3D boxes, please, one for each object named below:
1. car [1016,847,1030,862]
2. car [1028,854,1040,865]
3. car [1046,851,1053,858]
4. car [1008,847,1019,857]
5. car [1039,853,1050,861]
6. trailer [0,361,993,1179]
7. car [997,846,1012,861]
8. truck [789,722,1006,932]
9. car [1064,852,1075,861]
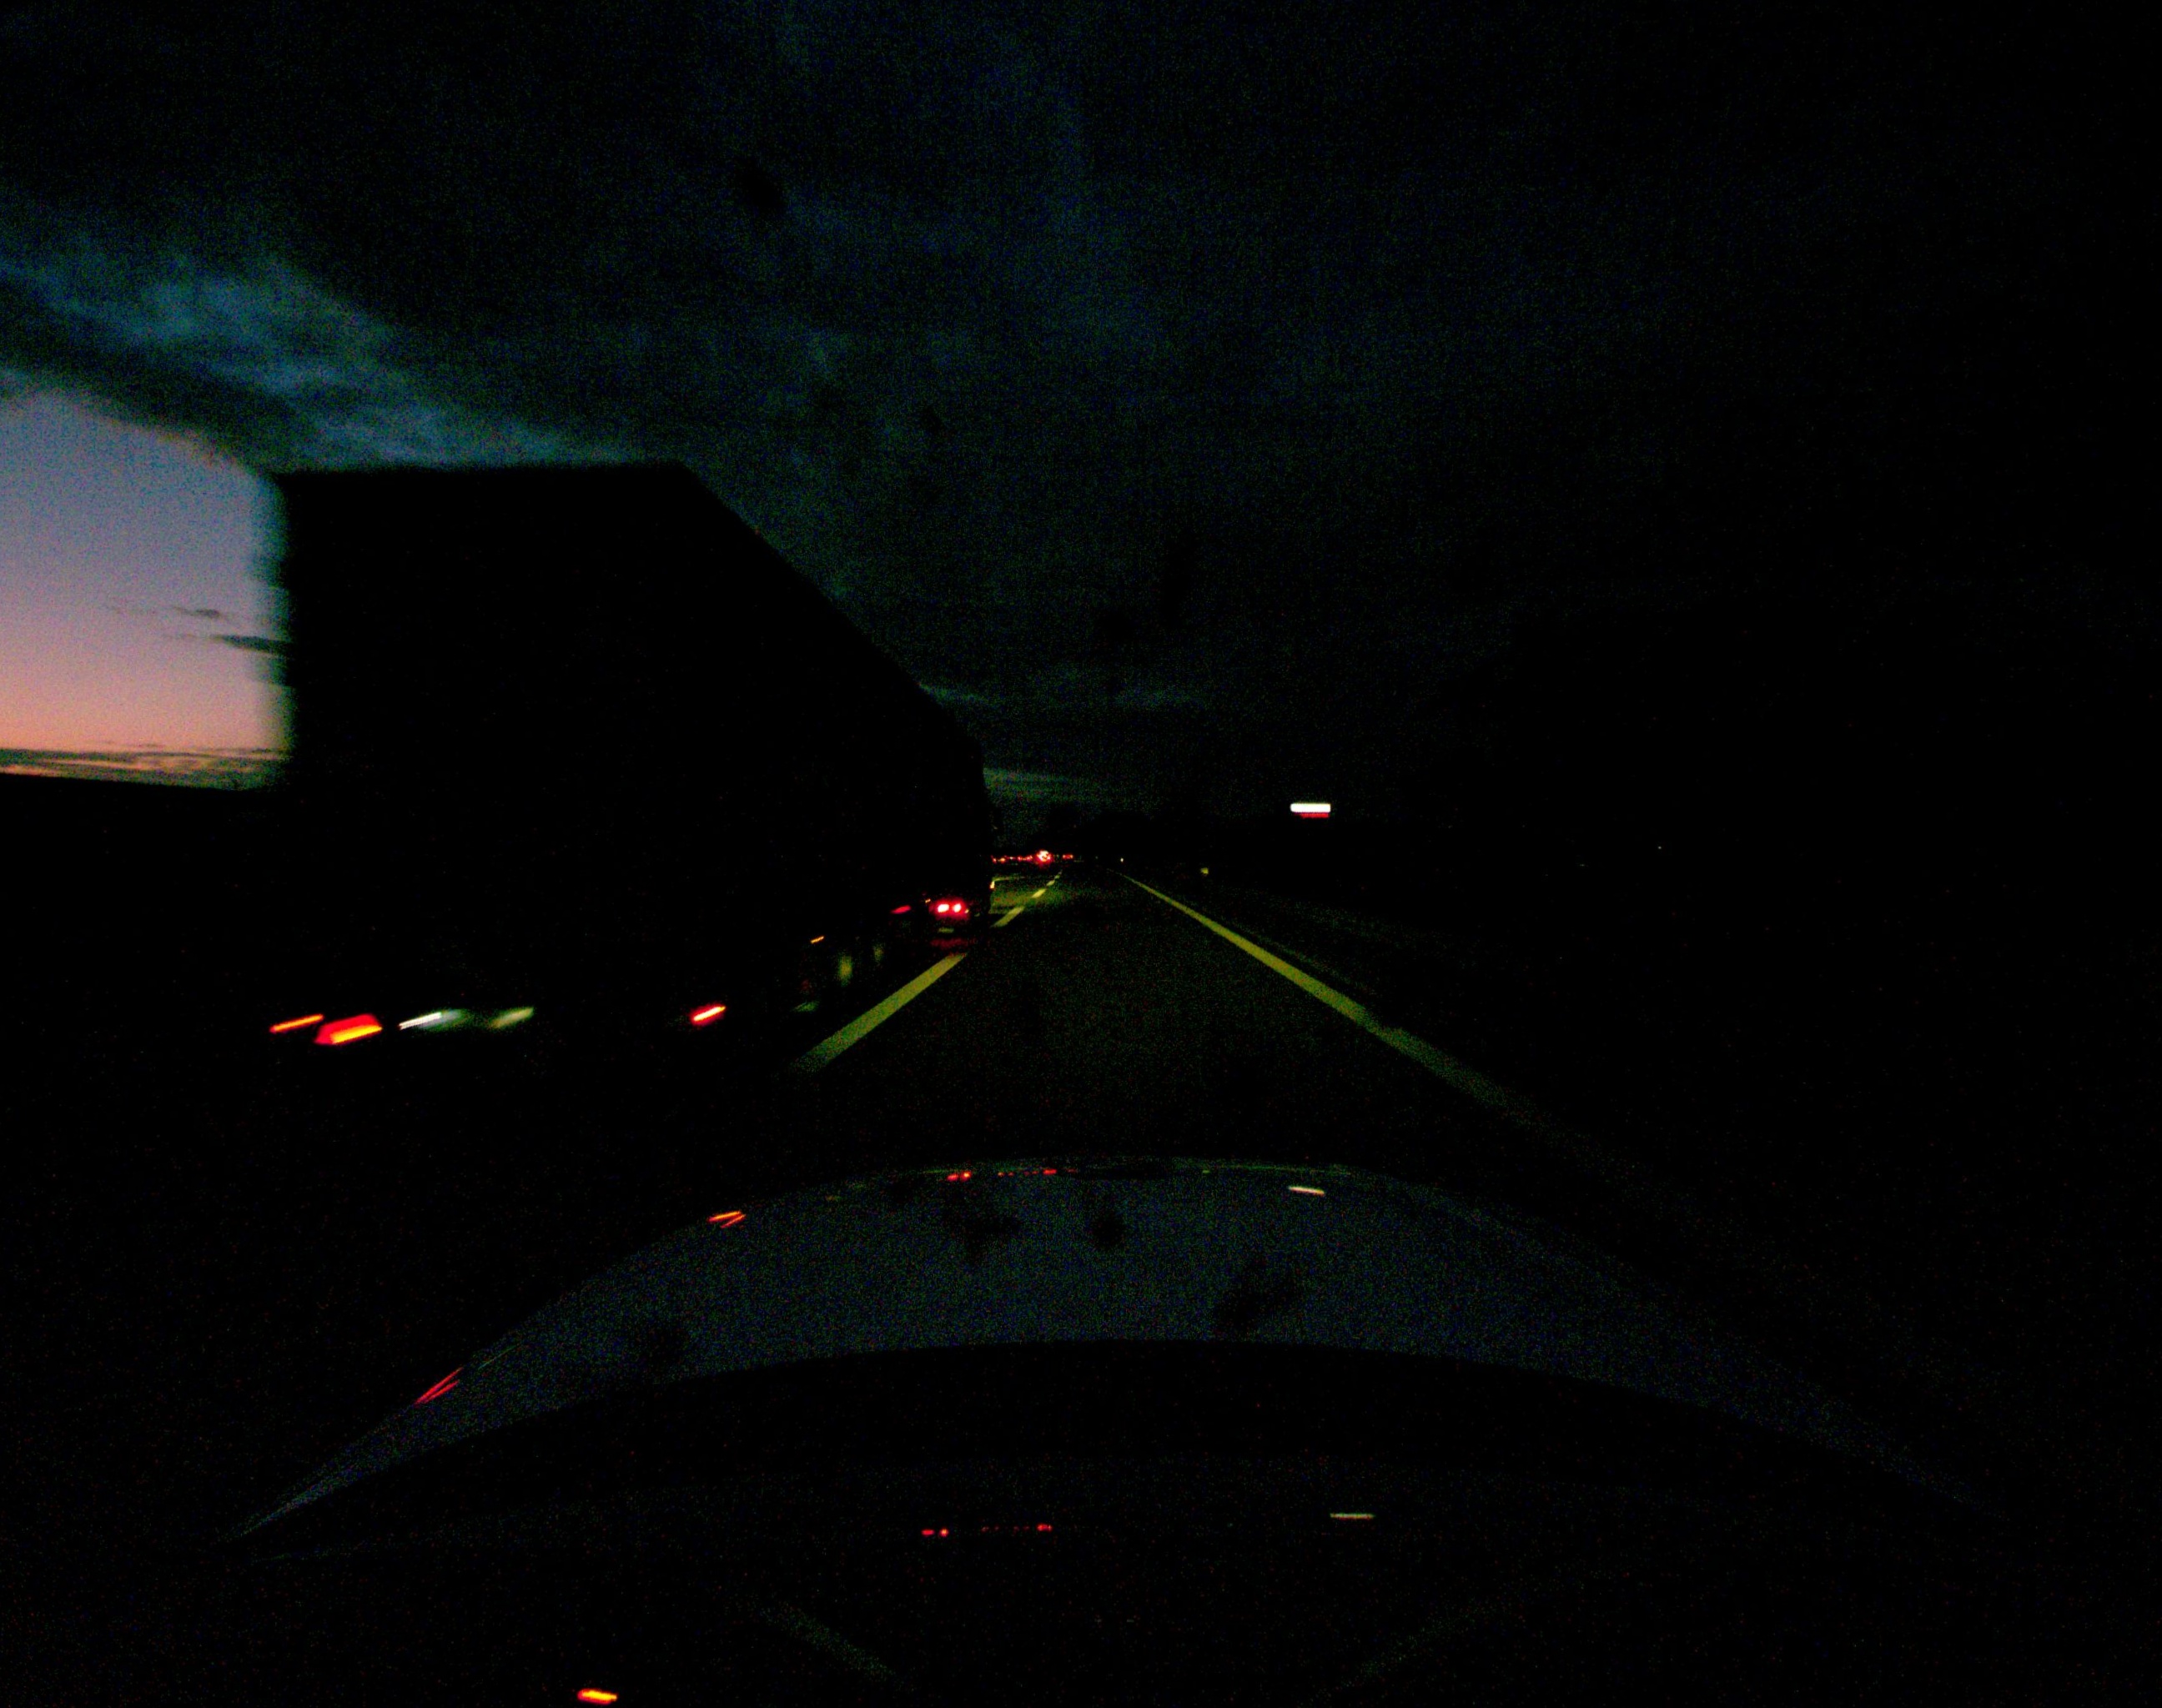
[{"bbox_3d":[-9.104,0.079,128.307,1.988,2.080,3.997,0,-2,-1],"label":"car"},{"bbox_3d":[-9.661,1.087,167.406,1.986,2.014,4.001,-1,-2,2],"label":"car"},{"bbox_3d":[-9.904,0.228,254.993,1.988,2.014,3.997,0,-2,-1],"label":"car"},{"bbox_3d":[-15.716,-0.452,189.738,1.987,2.014,3.998,0,-2,0],"label":"car"},{"bbox_3d":[-6.929,0.653,153.546,1.879,1.354,3.997,0,-2,-1],"label":"car"},{"bbox_3d":[-3.996,-0.489,11.722,3.538,4.116,15.064,-2,0,1],"label":"trailer"},{"bbox_3d":[-11.844,-0.031,125.636,1.988,2.047,3.997,0,-2,-1],"label":"car"},{"bbox_3d":[-3.934,-0.550,19.267,3.539,4.091,6.151,-2,0,0],"label":"truck"},{"bbox_3d":[-2.113,0.466,149.462,1.988,1.354,3.997,0,-2,-1],"label":"car"}]
